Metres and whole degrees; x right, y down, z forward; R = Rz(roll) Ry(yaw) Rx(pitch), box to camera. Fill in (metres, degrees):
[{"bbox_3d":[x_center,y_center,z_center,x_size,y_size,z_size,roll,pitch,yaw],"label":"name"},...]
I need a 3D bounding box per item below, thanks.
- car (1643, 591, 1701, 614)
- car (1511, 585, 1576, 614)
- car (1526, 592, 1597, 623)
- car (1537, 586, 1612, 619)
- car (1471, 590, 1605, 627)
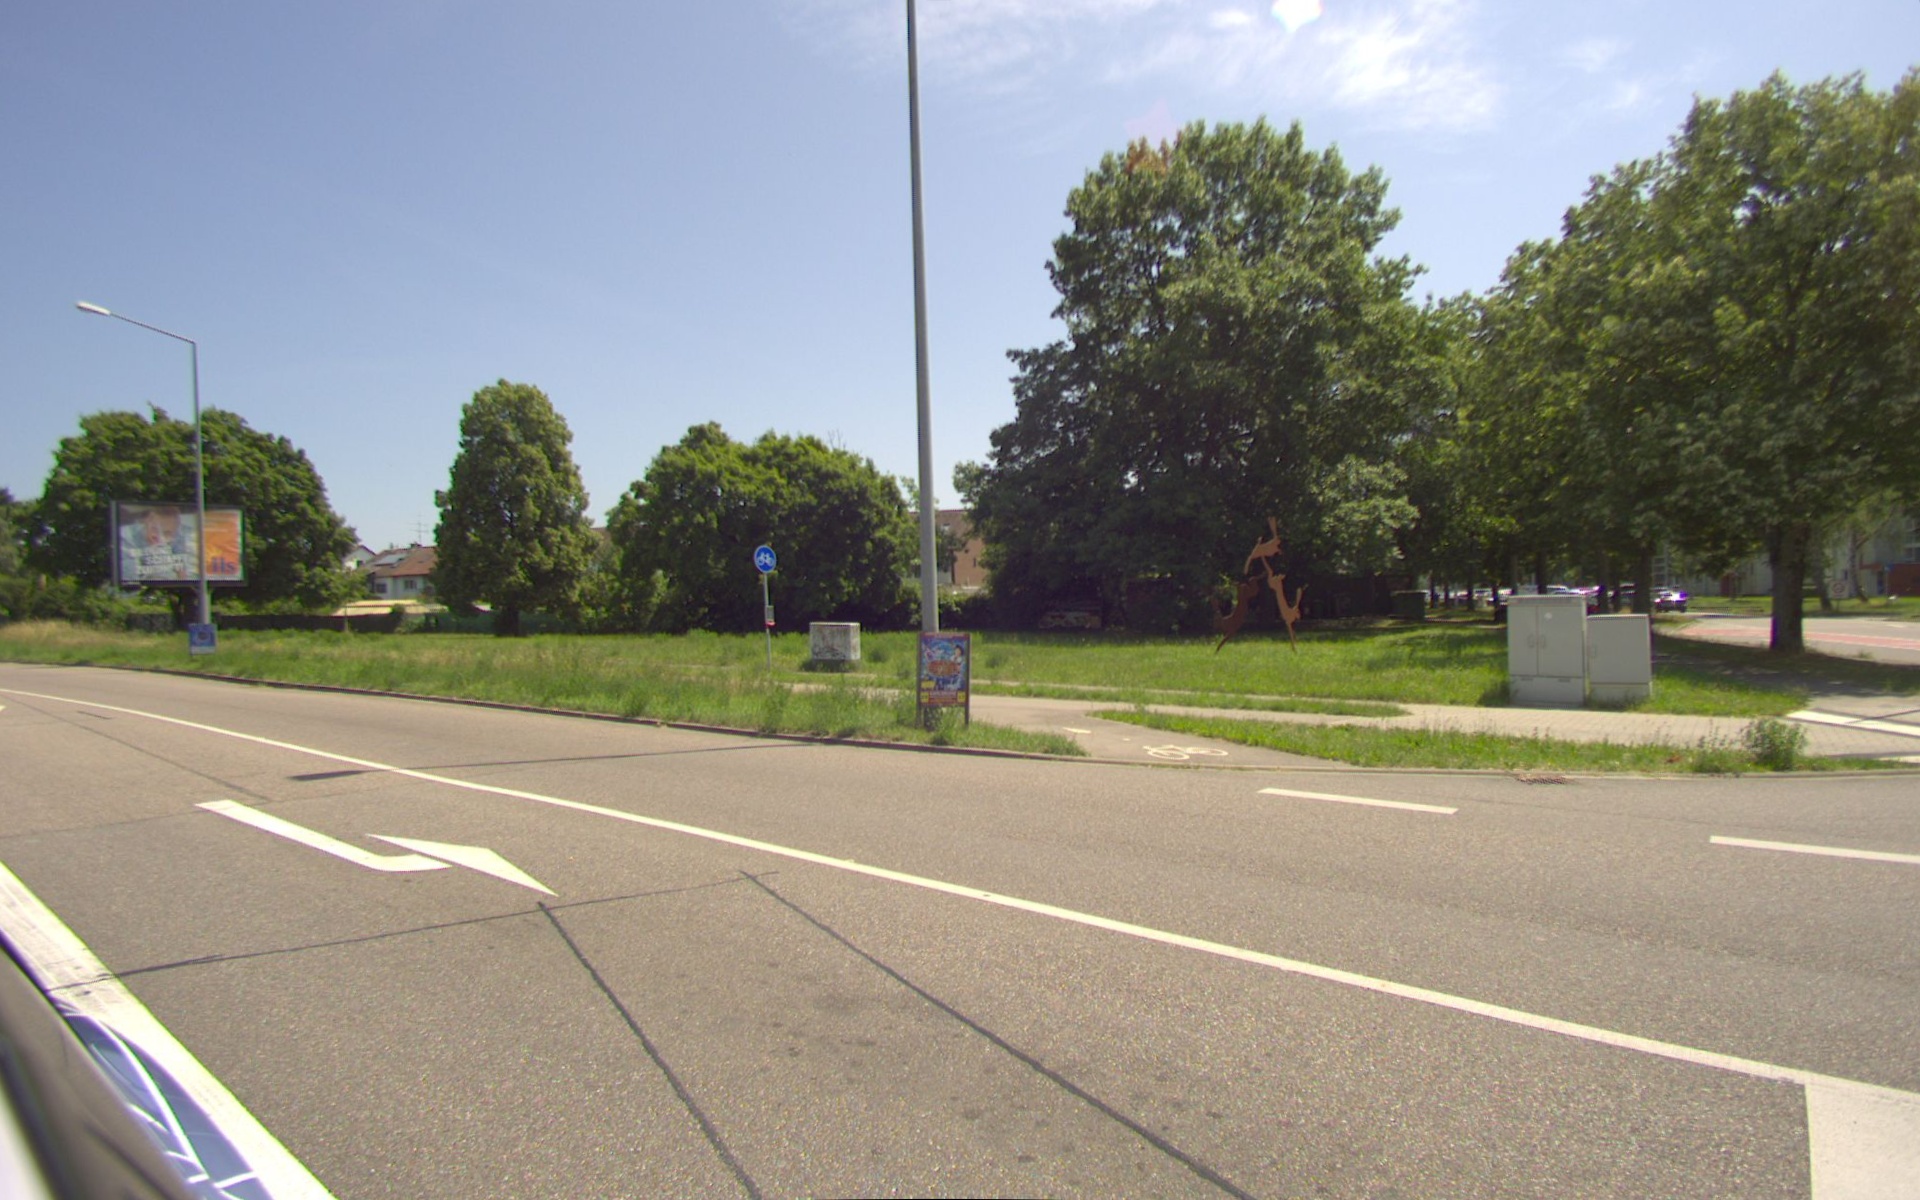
[{"bbox_3d":[50.106,0.158,71.348,1.896,1.510,4.606,-1,0,16],"label":"car"},{"bbox_3d":[44.684,-0.031,77.626,3.971,2.028,1.987,-2,3,21],"label":"car"},{"bbox_3d":[42.706,0.527,71.982,3.971,2.028,1.987,-2,3,21],"label":"car"},{"bbox_3d":[41.282,0.156,68.089,3.971,2.028,1.987,-2,3,21],"label":"car"},{"bbox_3d":[24.718,0.390,43.456,1.966,1.479,4.597,-1,-1,-32],"label":"car"}]
